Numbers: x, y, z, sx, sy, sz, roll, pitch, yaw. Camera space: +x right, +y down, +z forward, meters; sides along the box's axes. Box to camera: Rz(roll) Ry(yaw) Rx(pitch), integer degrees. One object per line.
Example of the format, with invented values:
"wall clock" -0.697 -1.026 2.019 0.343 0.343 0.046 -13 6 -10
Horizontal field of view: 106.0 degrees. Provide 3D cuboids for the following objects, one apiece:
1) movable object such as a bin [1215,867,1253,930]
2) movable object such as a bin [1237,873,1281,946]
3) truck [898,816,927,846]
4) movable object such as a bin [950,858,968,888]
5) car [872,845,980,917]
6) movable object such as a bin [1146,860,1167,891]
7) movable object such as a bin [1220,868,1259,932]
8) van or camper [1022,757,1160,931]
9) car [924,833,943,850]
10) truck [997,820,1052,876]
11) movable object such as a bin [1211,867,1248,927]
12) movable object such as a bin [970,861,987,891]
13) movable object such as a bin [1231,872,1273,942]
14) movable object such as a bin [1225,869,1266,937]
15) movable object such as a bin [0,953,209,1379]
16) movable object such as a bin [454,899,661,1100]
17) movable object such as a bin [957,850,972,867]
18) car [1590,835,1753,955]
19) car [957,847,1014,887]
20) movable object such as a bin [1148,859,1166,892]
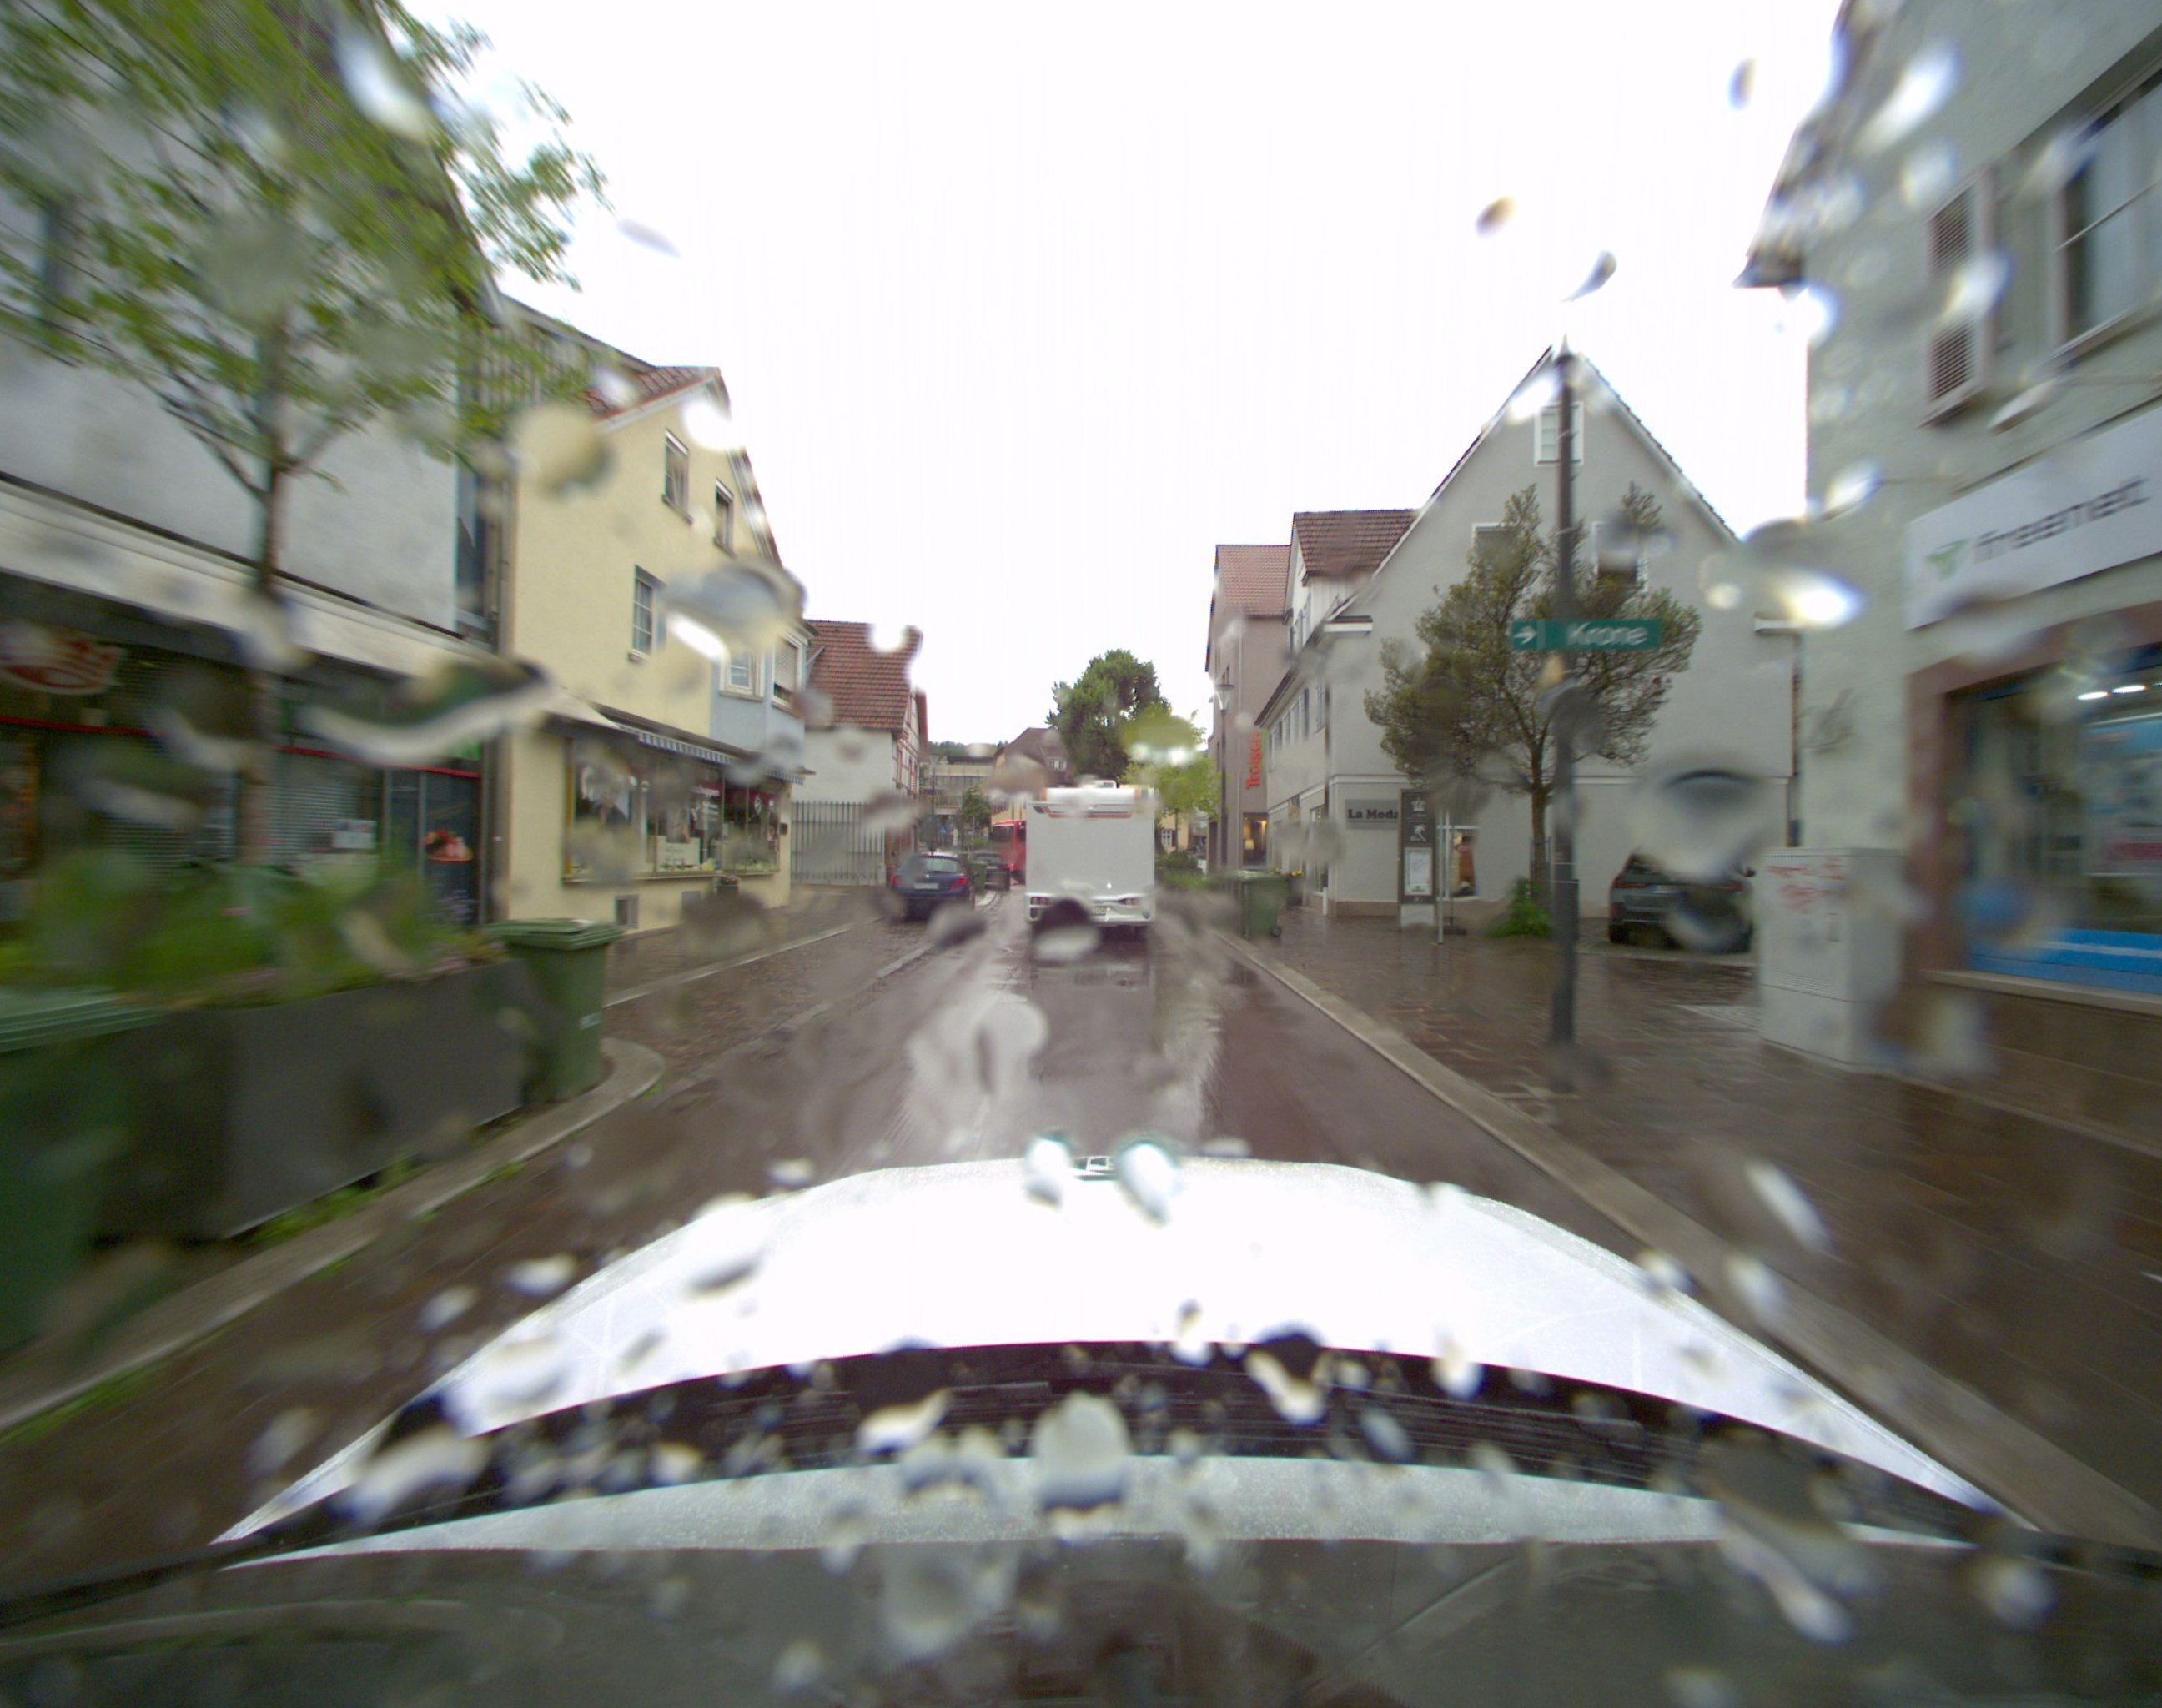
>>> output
"movable object such as a bin" 3.112 0.889 16.572 0.675 1.250 0.565 0 -1 1
"movable object such as a bin" 3.115 0.953 14.289 0.656 1.238 0.621 0 -1 1
"truck" -16.770 -2.193 80.915 2.286 2.758 5.536 1 -1 -17
"movable object such as a bin" -4.484 0.680 29.901 0.629 1.052 0.732 0 3 -7
"car" -3.497 0.554 19.139 1.990 1.472 3.995 1 0 -4
"movable object such as a bin" 2.689 0.772 29.126 0.691 1.102 0.561 0 -1 -2
"movable object such as a bin" 3.108 0.895 15.996 0.675 1.232 0.565 0 -1 1
"van or camper" 0.112 -0.125 16.945 2.319 2.919 6.389 0 -1 -1
"car" -19.384 -1.606 106.957 1.998 2.014 3.977 1 -1 -17
"truck" -3.291 -0.276 45.958 2.462 2.939 6.176 0 -1 -10
"movable object such as a bin" 3.134 0.894 17.226 0.675 1.241 0.731 0 -1 1
"movable object such as a bin" -3.778 0.812 30.020 0.629 1.113 0.732 0 -1 -7
"movable object such as a bin" 3.118 0.954 14.875 0.656 1.245 0.543 0 -1 1
"movable object such as a bin" 3.114 0.915 15.431 0.675 1.256 0.543 0 -1 1
"movable object such as a bin" -3.378 0.887 2.446 0.813 1.106 0.609 0 -1 -3
"movable object such as a bin" -3.212 0.868 5.062 0.813 1.106 0.609 3 -1 -3
"movable object such as a bin" -7.086 0.270 49.436 0.819 1.051 0.696 0 -1 -14
"car" 10.078 0.543 13.758 1.801 1.655 4.387 -1 1 42
"car" -4.072 0.491 34.170 1.995 1.494 3.983 2 0 -12
"movable object such as a bin" 2.657 0.754 28.506 0.542 1.156 0.576 0 -1 -2
